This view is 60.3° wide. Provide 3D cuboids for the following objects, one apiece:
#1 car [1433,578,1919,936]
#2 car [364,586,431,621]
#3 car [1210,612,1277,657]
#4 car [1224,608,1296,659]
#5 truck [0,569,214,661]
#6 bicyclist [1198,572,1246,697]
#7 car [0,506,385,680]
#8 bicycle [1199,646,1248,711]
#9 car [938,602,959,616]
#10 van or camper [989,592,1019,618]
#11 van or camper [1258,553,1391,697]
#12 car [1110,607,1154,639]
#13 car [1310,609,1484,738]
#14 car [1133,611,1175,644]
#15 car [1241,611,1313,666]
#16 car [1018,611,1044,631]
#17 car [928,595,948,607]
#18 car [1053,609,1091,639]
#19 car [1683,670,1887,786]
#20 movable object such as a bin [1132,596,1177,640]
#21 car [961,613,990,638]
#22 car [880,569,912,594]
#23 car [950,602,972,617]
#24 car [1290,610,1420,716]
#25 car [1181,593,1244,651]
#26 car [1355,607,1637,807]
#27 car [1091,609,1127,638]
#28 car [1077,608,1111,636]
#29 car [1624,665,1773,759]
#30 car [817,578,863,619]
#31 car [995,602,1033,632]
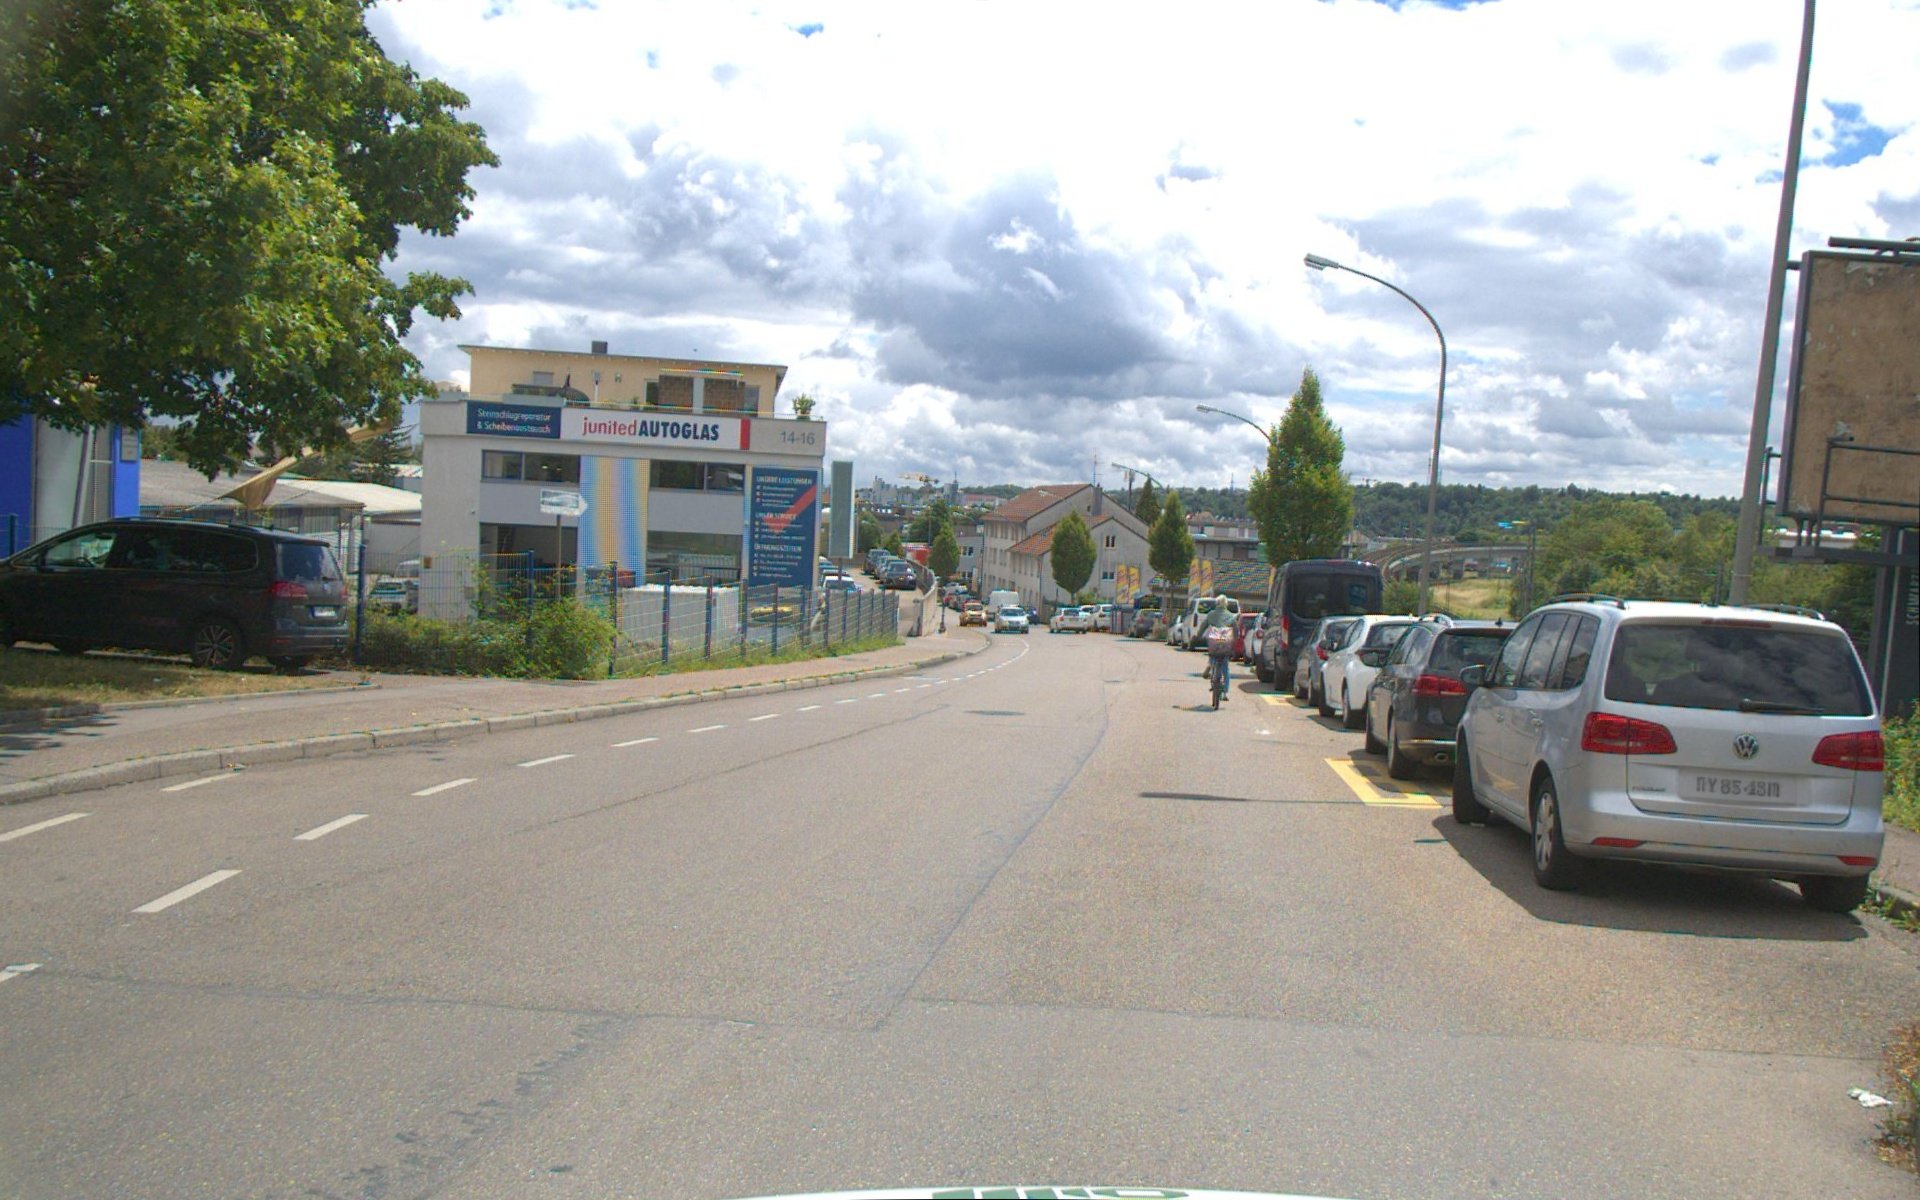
[{"bbox_3d":[4.283,0.795,10.601,1.669,1.707,4.311,4,0,7],"label":"car"},{"bbox_3d":[-23.872,0.129,70.348,1.956,1.378,3.992,2,0,-8],"label":"car"},{"bbox_3d":[9.741,1.163,57.016,1.863,1.467,3.545,1,-1,3],"label":"car"},{"bbox_3d":[9.487,1.051,52.556,1.836,1.534,4.002,1,-1,5],"label":"car"},{"bbox_3d":[-26.656,0.479,51.600,5.669,2.754,2.175,1,-1,-6],"label":"truck"},{"bbox_3d":[3.972,0.517,25.125,0.670,1.858,1.081,1,-1,8],"label":"bicyclist"},{"bbox_3d":[-9.684,-0.088,20.033,4.600,1.746,2.001,4,-1,7],"label":"car"},{"bbox_3d":[4.012,1.177,25.274,0.673,0.893,2.103,1,-1,8],"label":"bicycle"},{"bbox_3d":[-1.215,0.971,177.887,1.954,1.490,3.996,1,-1,-5],"label":"car"},{"bbox_3d":[3.781,0.436,142.841,1.956,2.048,3.995,5,0,-6],"label":"van or camper"},{"bbox_3d":[7.421,0.500,34.246,2.079,2.630,5.921,2,0,7],"label":"van or camper"},{"bbox_3d":[9.914,1.321,95.504,2.091,1.736,3.999,1,-1,-1],"label":"car"},{"bbox_3d":[5.953,0.935,22.931,1.670,1.505,3.960,4,0,6],"label":"car"},{"bbox_3d":[10.124,1.415,86.571,1.952,1.646,4.001,1,-1,3],"label":"car"},{"bbox_3d":[9.163,1.103,48.010,1.755,1.532,2.908,1,-1,5],"label":"car"},{"bbox_3d":[5.722,1.687,133.467,1.953,1.490,4.000,1,-1,0],"label":"car"},{"bbox_3d":[-2.584,0.135,193.926,1.955,1.445,3.995,1,-1,-5],"label":"car"},{"bbox_3d":[6.395,1.364,94.685,1.952,1.646,4.001,1,-1,2],"label":"car"},{"bbox_3d":[14.092,2.132,28.546,1.669,1.536,4.533,4,0,7],"label":"car"},{"bbox_3d":[10.667,0.972,90.918,2.091,2.343,2.557,1,-1,-1],"label":"movable object such as a bin"},{"bbox_3d":[1.041,1.710,112.101,1.675,1.601,3.996,1,-1,-4],"label":"car"},{"bbox_3d":[-3.612,-1.030,93.266,1.637,1.346,3.715,2,1,-4],"label":"car"},{"bbox_3d":[0.064,0.964,171.020,1.954,1.490,3.996,1,-1,-5],"label":"car"},{"bbox_3d":[6.607,1.003,28.010,1.669,1.536,3.699,4,0,7],"label":"car"},{"bbox_3d":[9.701,0.849,63.750,1.952,2.049,4.920,3,0,4],"label":"car"},{"bbox_3d":[4.926,0.880,15.827,1.669,1.512,4.576,4,0,7],"label":"car"},{"bbox_3d":[9.067,1.414,100.802,1.776,1.736,3.999,1,-1,-1],"label":"car"},{"bbox_3d":[8.655,1.391,106.832,1.805,1.736,3.999,1,-1,-1],"label":"car"},{"bbox_3d":[14.747,2.195,33.227,1.669,1.536,3.699,4,0,7],"label":"car"},{"bbox_3d":[-5.171,-0.032,70.975,1.812,1.679,3.994,1,-1,-6],"label":"car"},{"bbox_3d":[2.995,0.926,92.308,1.669,1.589,4.324,1,0,-4],"label":"car"}]
